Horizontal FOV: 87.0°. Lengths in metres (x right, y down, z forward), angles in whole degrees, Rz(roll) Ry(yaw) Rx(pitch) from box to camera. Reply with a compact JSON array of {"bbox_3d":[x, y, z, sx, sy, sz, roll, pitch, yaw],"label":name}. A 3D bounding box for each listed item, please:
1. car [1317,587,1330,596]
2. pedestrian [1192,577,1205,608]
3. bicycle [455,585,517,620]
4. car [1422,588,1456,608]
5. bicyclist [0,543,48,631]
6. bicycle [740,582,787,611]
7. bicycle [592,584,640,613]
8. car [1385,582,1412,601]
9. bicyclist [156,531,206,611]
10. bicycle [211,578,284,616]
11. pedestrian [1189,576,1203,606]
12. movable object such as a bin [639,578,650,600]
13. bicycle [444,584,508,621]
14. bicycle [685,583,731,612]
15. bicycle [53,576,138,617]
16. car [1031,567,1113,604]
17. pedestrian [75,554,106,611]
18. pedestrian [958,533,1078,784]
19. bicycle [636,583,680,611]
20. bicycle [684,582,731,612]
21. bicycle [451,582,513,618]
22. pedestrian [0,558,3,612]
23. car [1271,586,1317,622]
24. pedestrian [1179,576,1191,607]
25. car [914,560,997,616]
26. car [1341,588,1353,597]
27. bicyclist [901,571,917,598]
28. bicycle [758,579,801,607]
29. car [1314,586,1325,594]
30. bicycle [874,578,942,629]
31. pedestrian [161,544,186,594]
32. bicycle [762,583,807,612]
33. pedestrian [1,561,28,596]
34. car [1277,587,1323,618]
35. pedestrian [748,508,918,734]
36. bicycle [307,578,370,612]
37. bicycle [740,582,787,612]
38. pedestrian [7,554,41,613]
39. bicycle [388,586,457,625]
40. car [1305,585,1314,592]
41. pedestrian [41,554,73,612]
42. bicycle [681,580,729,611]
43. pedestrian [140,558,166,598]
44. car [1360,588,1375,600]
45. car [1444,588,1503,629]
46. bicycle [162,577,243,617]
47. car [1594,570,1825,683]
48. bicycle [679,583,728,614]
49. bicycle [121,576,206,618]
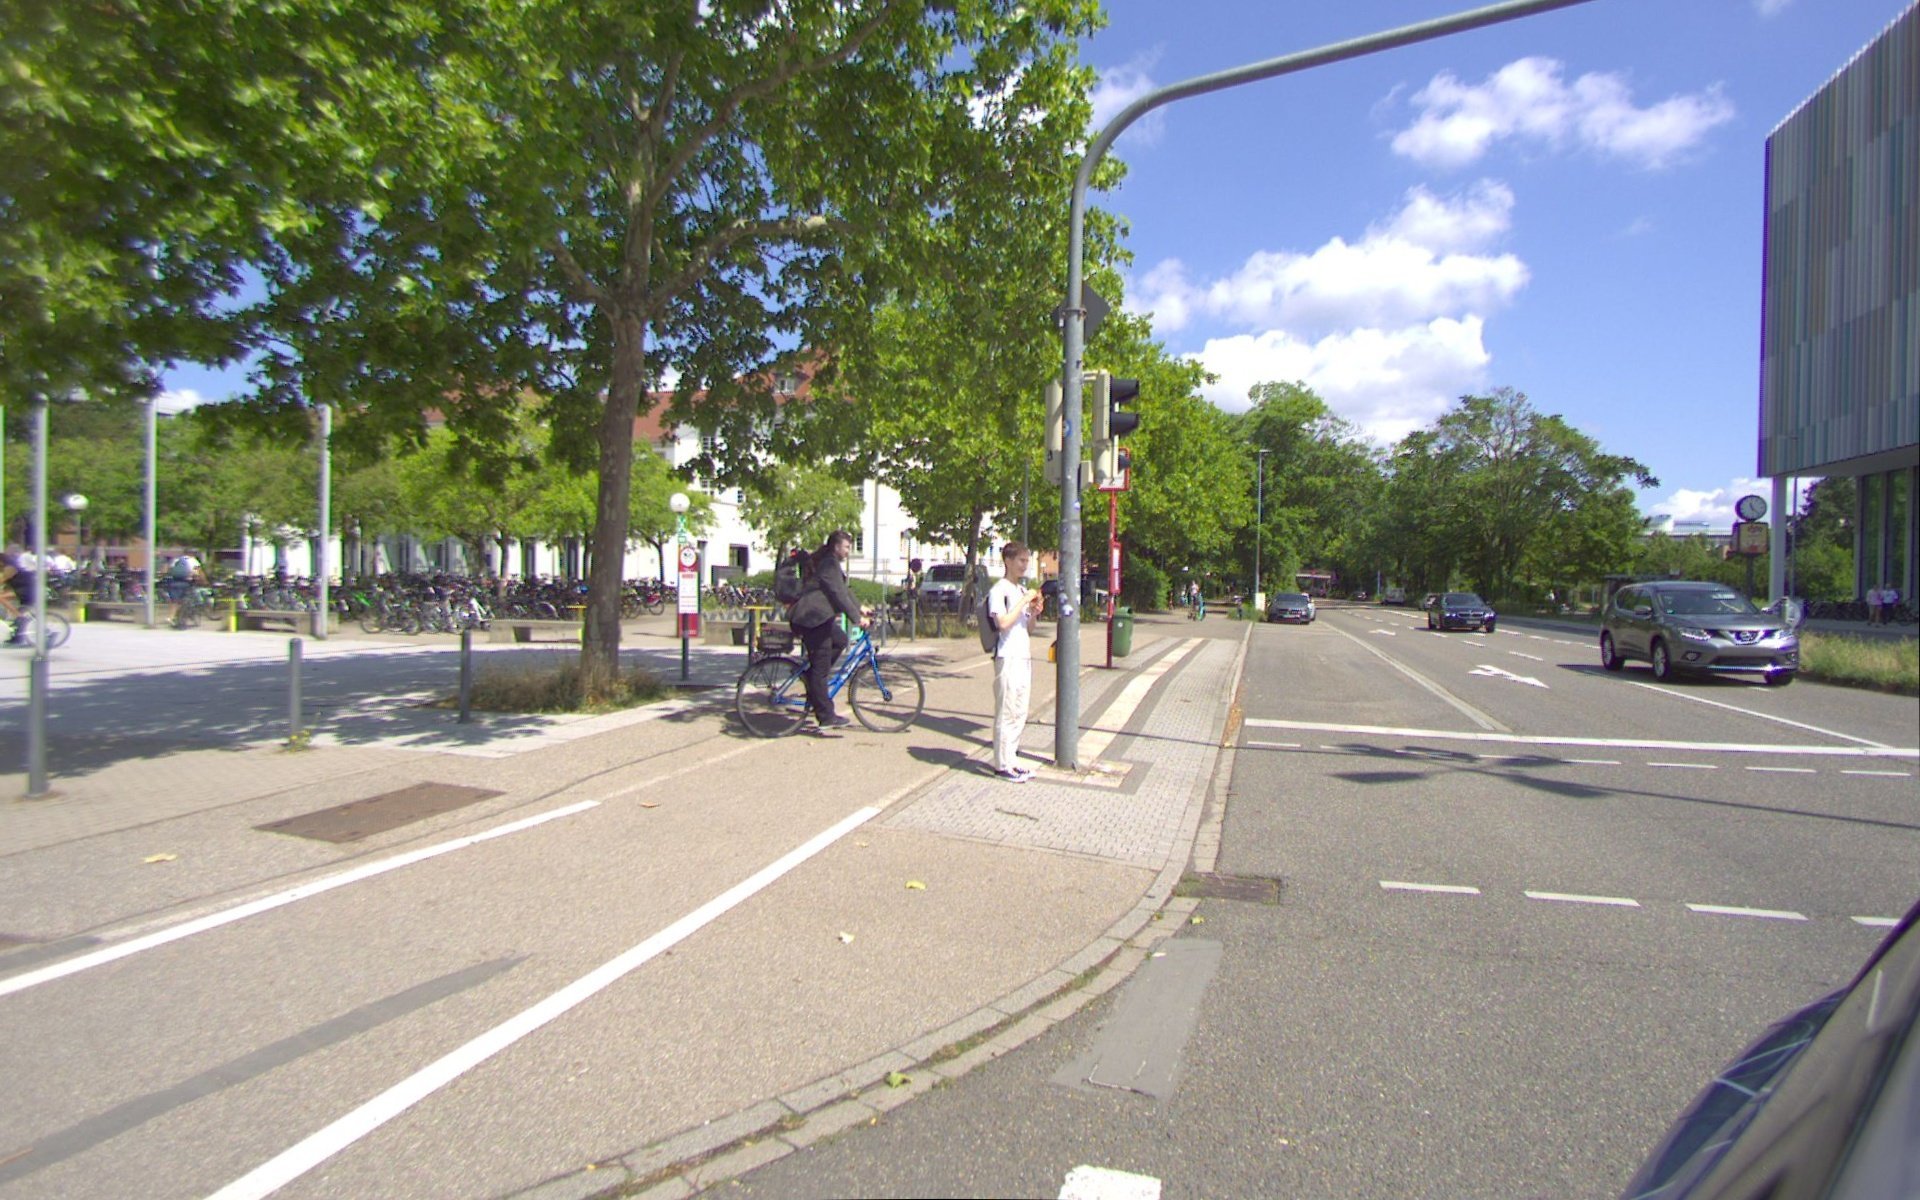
[{"bbox_3d":[64.098,-1.583,178.513,1.878,1.530,3.800,-1,1,22],"label":"car"},{"bbox_3d":[13.958,-0.459,59.319,0.673,1.803,0.789,-1,0,11],"label":"pedestrian"},{"bbox_3d":[-15.623,0.065,33.381,1.731,1.113,0.605,-1,0,-14],"label":"bicycle"},{"bbox_3d":[36.718,-0.161,77.698,1.975,1.438,3.973,1,1,20],"label":"car"},{"bbox_3d":[-17.332,-0.244,18.510,0.916,1.583,0.662,0,1,-38],"label":"bicyclist"},{"bbox_3d":[-7.710,-0.138,39.695,1.731,1.113,0.605,-1,0,-13],"label":"bicycle"},{"bbox_3d":[-13.507,-0.068,39.807,1.731,1.113,0.605,-1,0,-14],"label":"bicycle"},{"bbox_3d":[45.266,-0.924,104.613,1.876,1.834,4.710,0,1,15],"label":"car"},{"bbox_3d":[-18.553,-0.688,24.112,0.649,1.868,0.763,-1,0,-11],"label":"bicyclist"},{"bbox_3d":[-21.865,-0.105,31.090,1.731,1.113,0.605,-1,0,-14],"label":"bicycle"},{"bbox_3d":[14.401,-0.560,61.790,0.672,1.803,0.789,-1,0,7],"label":"pedestrian"},{"bbox_3d":[-15.620,-0.551,50.104,0.383,1.068,0.367,2,1,13],"label":"movable object such as a bin"},{"bbox_3d":[-15.311,0.077,32.054,1.731,1.113,0.605,-1,0,-14],"label":"bicycle"},{"bbox_3d":[-9.916,-0.094,39.812,1.731,1.113,0.605,-1,0,-13],"label":"bicycle"},{"bbox_3d":[-24.378,-0.109,28.571,1.731,1.113,0.605,-1,0,-14],"label":"bicycle"},{"bbox_3d":[5.810,-0.748,52.254,3.942,1.805,1.991,-1,1,15],"label":"car"},{"bbox_3d":[-34.594,-0.699,40.274,0.701,2.257,0.635,-1,0,-13],"label":"pedestrian"},{"bbox_3d":[0.443,0.418,7.749,0.600,1.823,0.595,2,1,-38],"label":"pedestrian"},{"bbox_3d":[-12.768,-0.125,42.844,1.731,1.113,0.605,-1,0,-14],"label":"bicycle"},{"bbox_3d":[-9.740,-0.102,39.125,1.731,1.113,0.605,-1,0,-13],"label":"bicycle"},{"bbox_3d":[-15.457,-0.011,32.748,1.731,1.113,0.605,-1,0,-14],"label":"bicycle"},{"bbox_3d":[-40.417,-0.603,42.150,0.630,2.257,0.707,-1,0,36],"label":"pedestrian"},{"bbox_3d":[15.391,0.159,46.806,1.838,1.497,4.914,3,1,17],"label":"car"},{"bbox_3d":[13.282,-0.480,59.750,0.673,1.803,0.789,-1,0,10],"label":"pedestrian"},{"bbox_3d":[-0.080,-0.463,36.668,1.876,1.888,4.921,0,1,14],"label":"car"},{"bbox_3d":[66.056,-1.320,172.705,1.878,1.530,3.800,-1,1,22],"label":"car"},{"bbox_3d":[-2.565,-0.779,50.958,0.598,1.337,0.740,2,1,10],"label":"bicyclist"},{"bbox_3d":[-7.525,-0.288,42.211,1.731,1.113,0.605,-1,0,-14],"label":"bicycle"},{"bbox_3d":[69.662,-1.942,196.045,1.878,1.530,3.800,-1,1,22],"label":"car"},{"bbox_3d":[-1.270,0.062,25.192,0.792,1.198,2.012,0,1,28],"label":"bicycle"},{"bbox_3d":[-35.770,-1.393,46.025,0.621,2.257,0.718,-1,0,-13],"label":"pedestrian"},{"bbox_3d":[-7.099,-0.100,40.974,1.731,1.113,0.605,-1,0,-14],"label":"bicycle"},{"bbox_3d":[-39.800,-0.889,42.622,0.630,1.448,0.707,-1,0,36],"label":"pedestrian"},{"bbox_3d":[17.404,0.111,51.657,1.725,1.468,4.901,2,1,24],"label":"car"},{"bbox_3d":[-1.133,0.154,8.957,1.152,1.841,0.858,1,5,-31],"label":"pedestrian"},{"bbox_3d":[-21.446,-0.183,34.943,1.731,1.113,0.605,-1,0,-14],"label":"bicycle"},{"bbox_3d":[-7.510,-0.128,38.662,1.731,1.113,0.605,-1,0,-13],"label":"bicycle"},{"bbox_3d":[-36.219,-0.649,39.174,0.701,2.257,0.635,-1,0,-13],"label":"pedestrian"},{"bbox_3d":[-16.141,0.146,30.426,1.731,1.113,0.605,-1,0,-14],"label":"bicycle"},{"bbox_3d":[81.010,-2.710,234.450,1.878,1.530,3.800,-1,1,22],"label":"car"},{"bbox_3d":[-35.259,-0.674,39.532,0.838,2.257,0.634,-1,0,-36],"label":"pedestrian"},{"bbox_3d":[-9.665,-0.171,38.400,1.731,1.113,0.605,-1,0,-13],"label":"bicycle"},{"bbox_3d":[-36.530,-1.007,45.810,0.621,1.799,0.718,-1,0,-13],"label":"pedestrian"},{"bbox_3d":[56.146,-0.874,139.336,1.878,1.530,3.800,-1,1,22],"label":"car"},{"bbox_3d":[19.152,0.285,37.869,1.812,1.434,4.154,-1,0,25],"label":"car"},{"bbox_3d":[-21.662,-0.096,28.974,1.731,1.113,0.605,-1,0,-14],"label":"bicycle"},{"bbox_3d":[12.850,0.388,17.724,1.800,1.700,4.455,-1,0,16],"label":"car"},{"bbox_3d":[-9.521,-0.071,37.553,1.731,1.113,0.605,-1,0,-13],"label":"bicycle"},{"bbox_3d":[-21.964,-0.085,27.929,1.731,1.113,0.605,-1,0,-14],"label":"bicycle"}]
